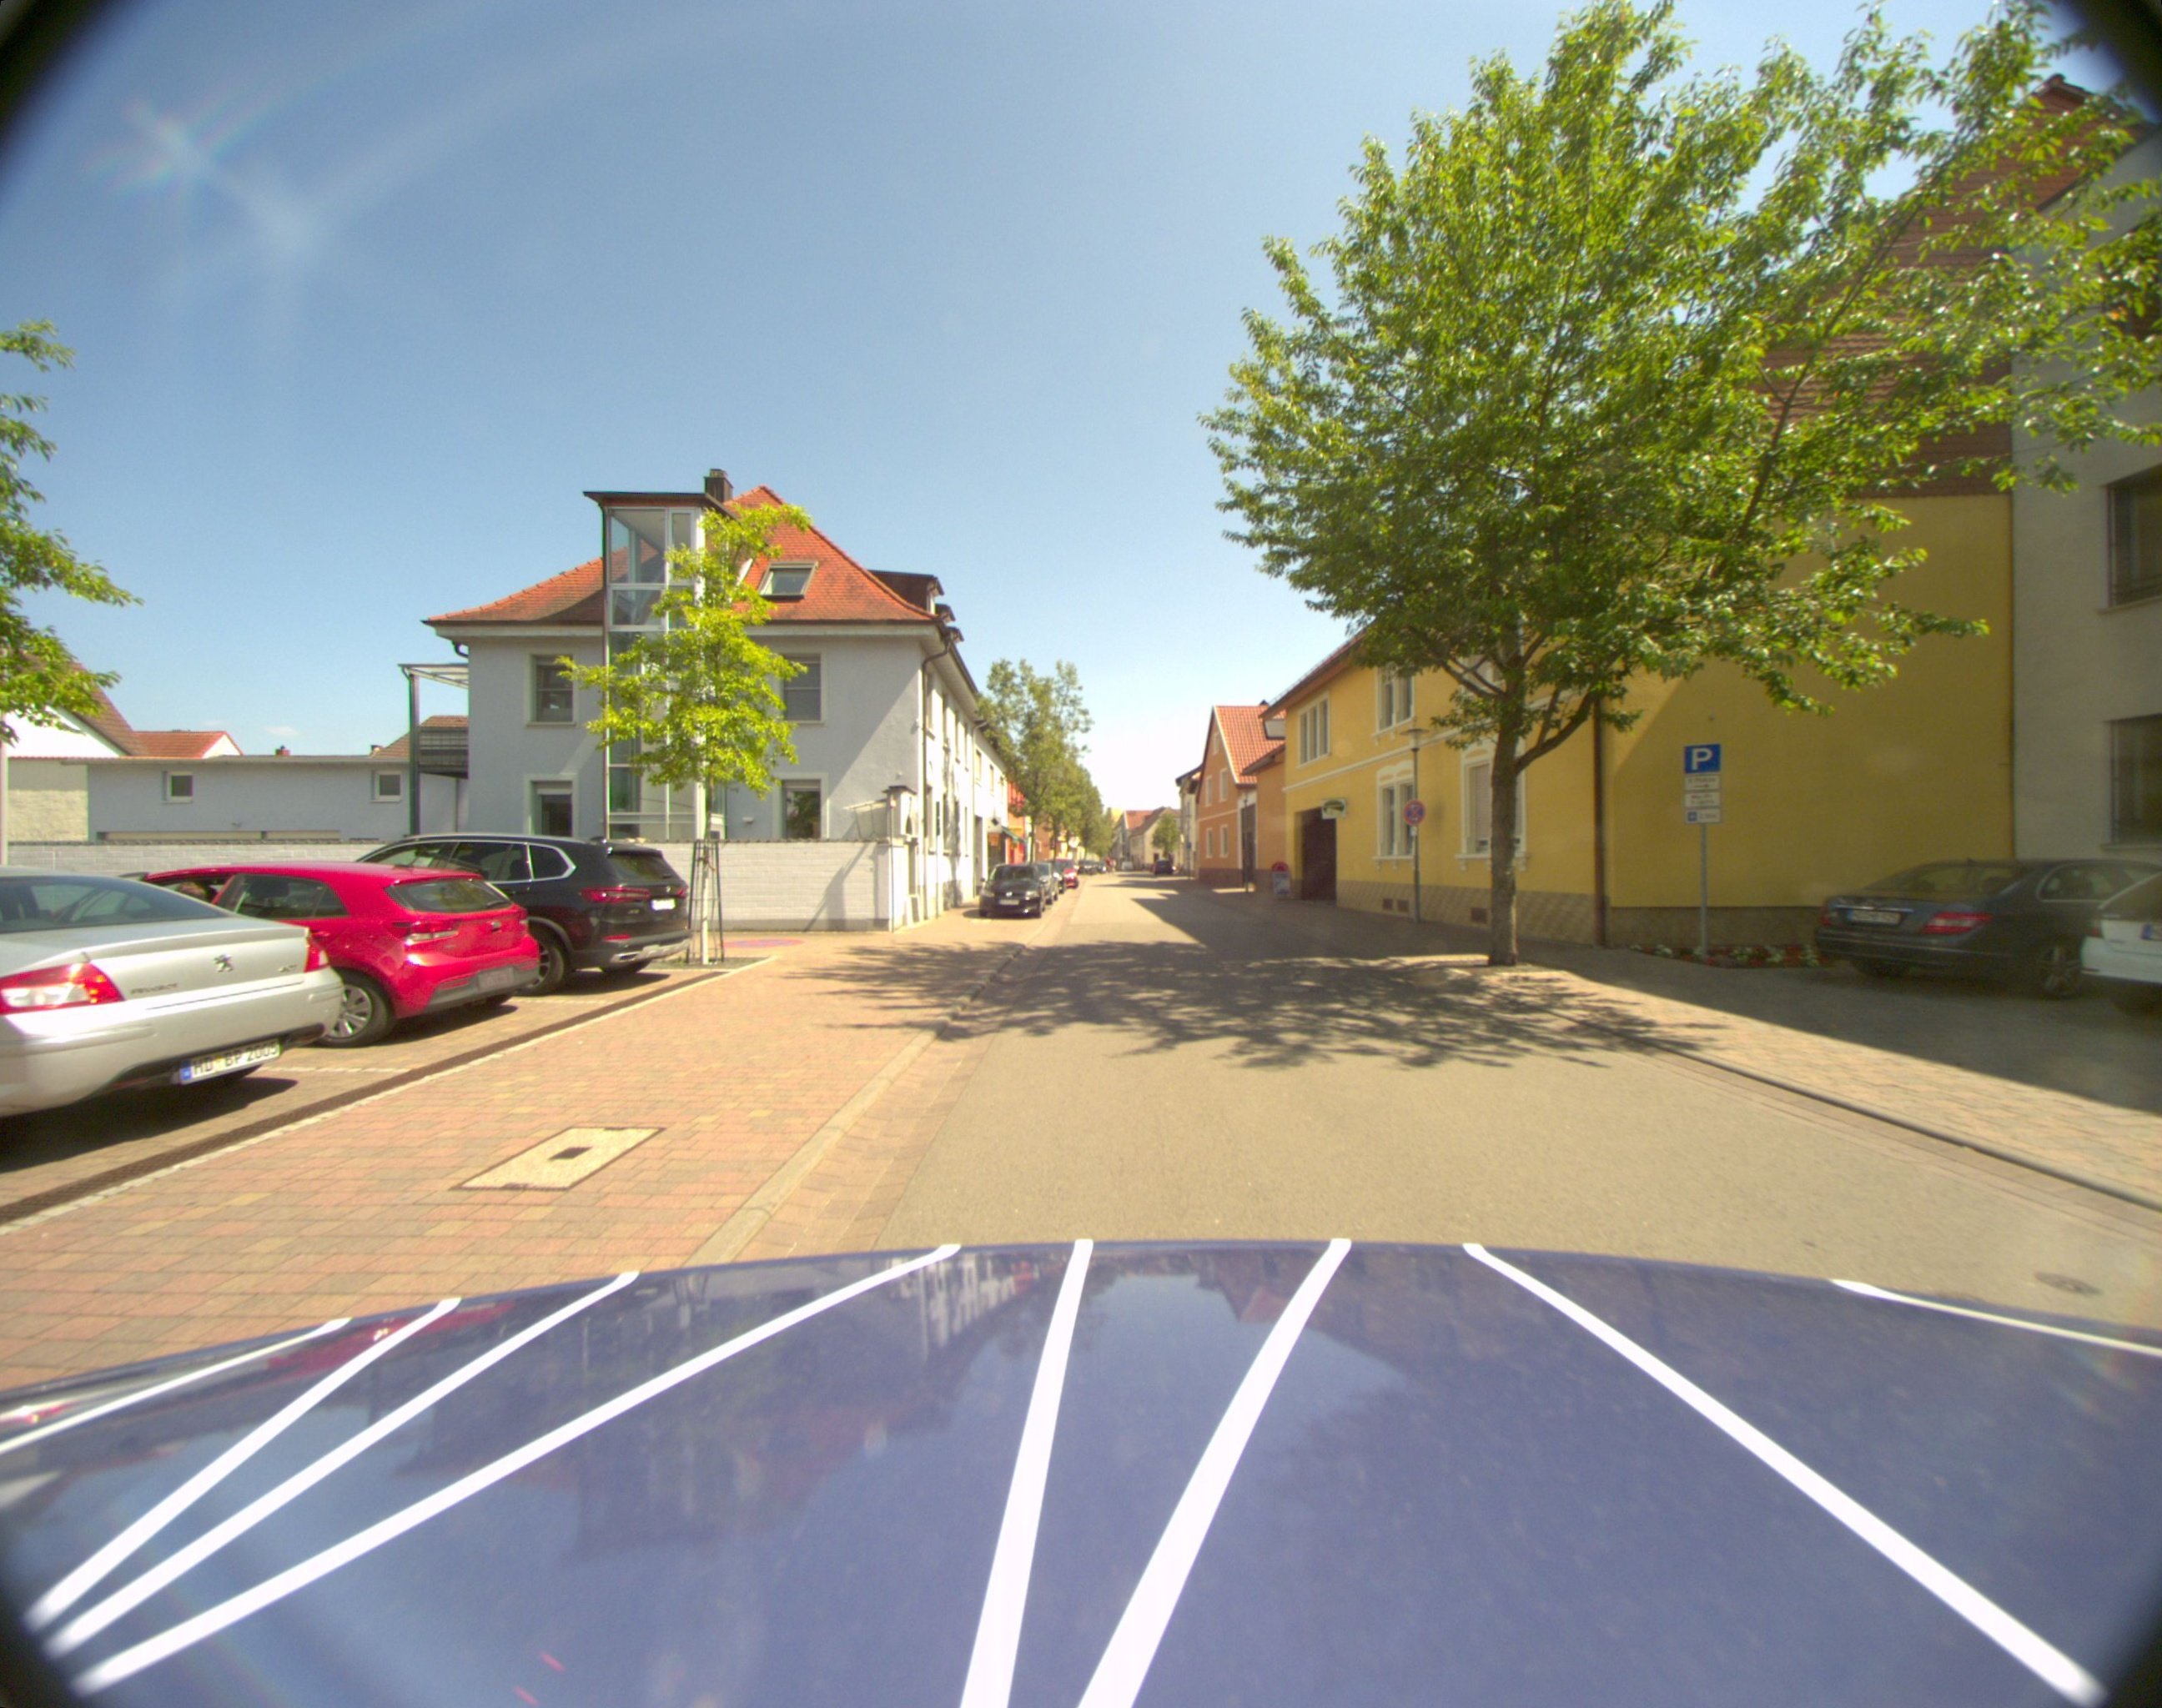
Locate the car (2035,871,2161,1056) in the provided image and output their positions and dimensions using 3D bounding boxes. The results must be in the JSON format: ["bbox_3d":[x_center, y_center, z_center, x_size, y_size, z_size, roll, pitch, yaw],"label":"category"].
[{"bbox_3d":[10.616,0.844,5.961,3.997,1.442,1.807,-1,-1,-1],"label":"car"}]

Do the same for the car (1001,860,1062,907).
[{"bbox_3d":[-1.690,0.994,27.186,1.721,1.472,4.096,1,0,2],"label":"car"}]

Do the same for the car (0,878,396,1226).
[{"bbox_3d":[-6.890,0.872,4.084,4.549,1.432,1.839,2,0,-5],"label":"car"}]

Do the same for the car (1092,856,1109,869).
[{"bbox_3d":[2.609,1.125,100.961,1.998,1.759,4.110,0,0,5],"label":"car"}]

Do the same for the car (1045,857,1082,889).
[{"bbox_3d":[-0.965,0.972,41.086,1.834,1.579,4.087,-1,0,-2],"label":"car"}]

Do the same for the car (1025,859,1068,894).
[{"bbox_3d":[-1.528,1.010,34.964,1.741,1.504,3.736,0,-1,1],"label":"car"}]

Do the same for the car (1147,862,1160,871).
[{"bbox_3d":[11.014,1.884,115.754,1.572,1.452,3.800,0,0,-3],"label":"car"}]

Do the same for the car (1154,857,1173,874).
[{"bbox_3d":[8.588,1.173,78.846,1.862,1.620,4.049,0,0,7],"label":"car"}]

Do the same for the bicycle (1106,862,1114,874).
[{"bbox_3d":[3.185,1.538,83.478,0.635,1.227,1.895,2,-2,7],"label":"bicycle"}]

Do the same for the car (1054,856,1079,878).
[{"bbox_3d":[-1.035,0.925,55.985,1.714,1.534,3.998,0,-1,1],"label":"car"}]

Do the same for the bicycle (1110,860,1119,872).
[{"bbox_3d":[3.917,1.415,88.940,0.959,1.363,2.407,0,0,5],"label":"bicycle"}]

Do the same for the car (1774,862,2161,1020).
[{"bbox_3d":[10.577,0.858,8.461,3.998,1.422,1.972,-2,-1,-3],"label":"car"}]

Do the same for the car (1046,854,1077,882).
[{"bbox_3d":[-1.245,0.863,49.727,1.871,1.675,4.661,-2,1,0],"label":"car"}]

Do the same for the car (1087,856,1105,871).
[{"bbox_3d":[1.845,1.089,92.180,1.998,1.759,4.110,0,0,5],"label":"car"}]

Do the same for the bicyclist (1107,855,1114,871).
[{"bbox_3d":[3.201,0.996,83.486,0.644,1.766,0.722,2,-1,7],"label":"bicyclist"}]

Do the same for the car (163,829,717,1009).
[{"bbox_3d":[-7.172,0.699,8.998,4.642,1.760,2.148,2,-1,-1],"label":"car"}]

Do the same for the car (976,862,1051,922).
[{"bbox_3d":[-1.824,0.993,21.559,1.708,1.472,3.922,1,0,0],"label":"car"}]

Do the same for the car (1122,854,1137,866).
[{"bbox_3d":[8.974,1.085,141.637,2.443,2.223,4.960,0,0,-2],"label":"car"}]

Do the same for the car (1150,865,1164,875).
[{"bbox_3d":[10.936,2.301,109.293,1.571,1.452,3.803,2,-2,0],"label":"car"}]

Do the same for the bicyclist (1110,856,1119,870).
[{"bbox_3d":[3.950,1.057,89.050,1.027,1.635,1.025,0,0,4],"label":"bicyclist"}]

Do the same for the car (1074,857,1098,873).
[{"bbox_3d":[0.524,1.116,78.780,1.928,1.594,4.111,0,0,9],"label":"car"}]

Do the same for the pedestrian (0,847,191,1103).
[{"bbox_3d":[-7.162,0.811,5.426,0.751,1.707,0.698,1,0,-5],"label":"pedestrian"}]

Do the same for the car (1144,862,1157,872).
[{"bbox_3d":[11.197,2.108,123.157,1.572,1.452,3.800,0,0,-3],"label":"car"}]

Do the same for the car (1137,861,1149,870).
[{"bbox_3d":[10.662,2.023,130.939,1.571,1.452,3.801,0,0,-2],"label":"car"}]

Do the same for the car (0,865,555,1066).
[{"bbox_3d":[-7.070,0.869,6.569,3.740,1.444,1.744,2,0,-5],"label":"car"}]
